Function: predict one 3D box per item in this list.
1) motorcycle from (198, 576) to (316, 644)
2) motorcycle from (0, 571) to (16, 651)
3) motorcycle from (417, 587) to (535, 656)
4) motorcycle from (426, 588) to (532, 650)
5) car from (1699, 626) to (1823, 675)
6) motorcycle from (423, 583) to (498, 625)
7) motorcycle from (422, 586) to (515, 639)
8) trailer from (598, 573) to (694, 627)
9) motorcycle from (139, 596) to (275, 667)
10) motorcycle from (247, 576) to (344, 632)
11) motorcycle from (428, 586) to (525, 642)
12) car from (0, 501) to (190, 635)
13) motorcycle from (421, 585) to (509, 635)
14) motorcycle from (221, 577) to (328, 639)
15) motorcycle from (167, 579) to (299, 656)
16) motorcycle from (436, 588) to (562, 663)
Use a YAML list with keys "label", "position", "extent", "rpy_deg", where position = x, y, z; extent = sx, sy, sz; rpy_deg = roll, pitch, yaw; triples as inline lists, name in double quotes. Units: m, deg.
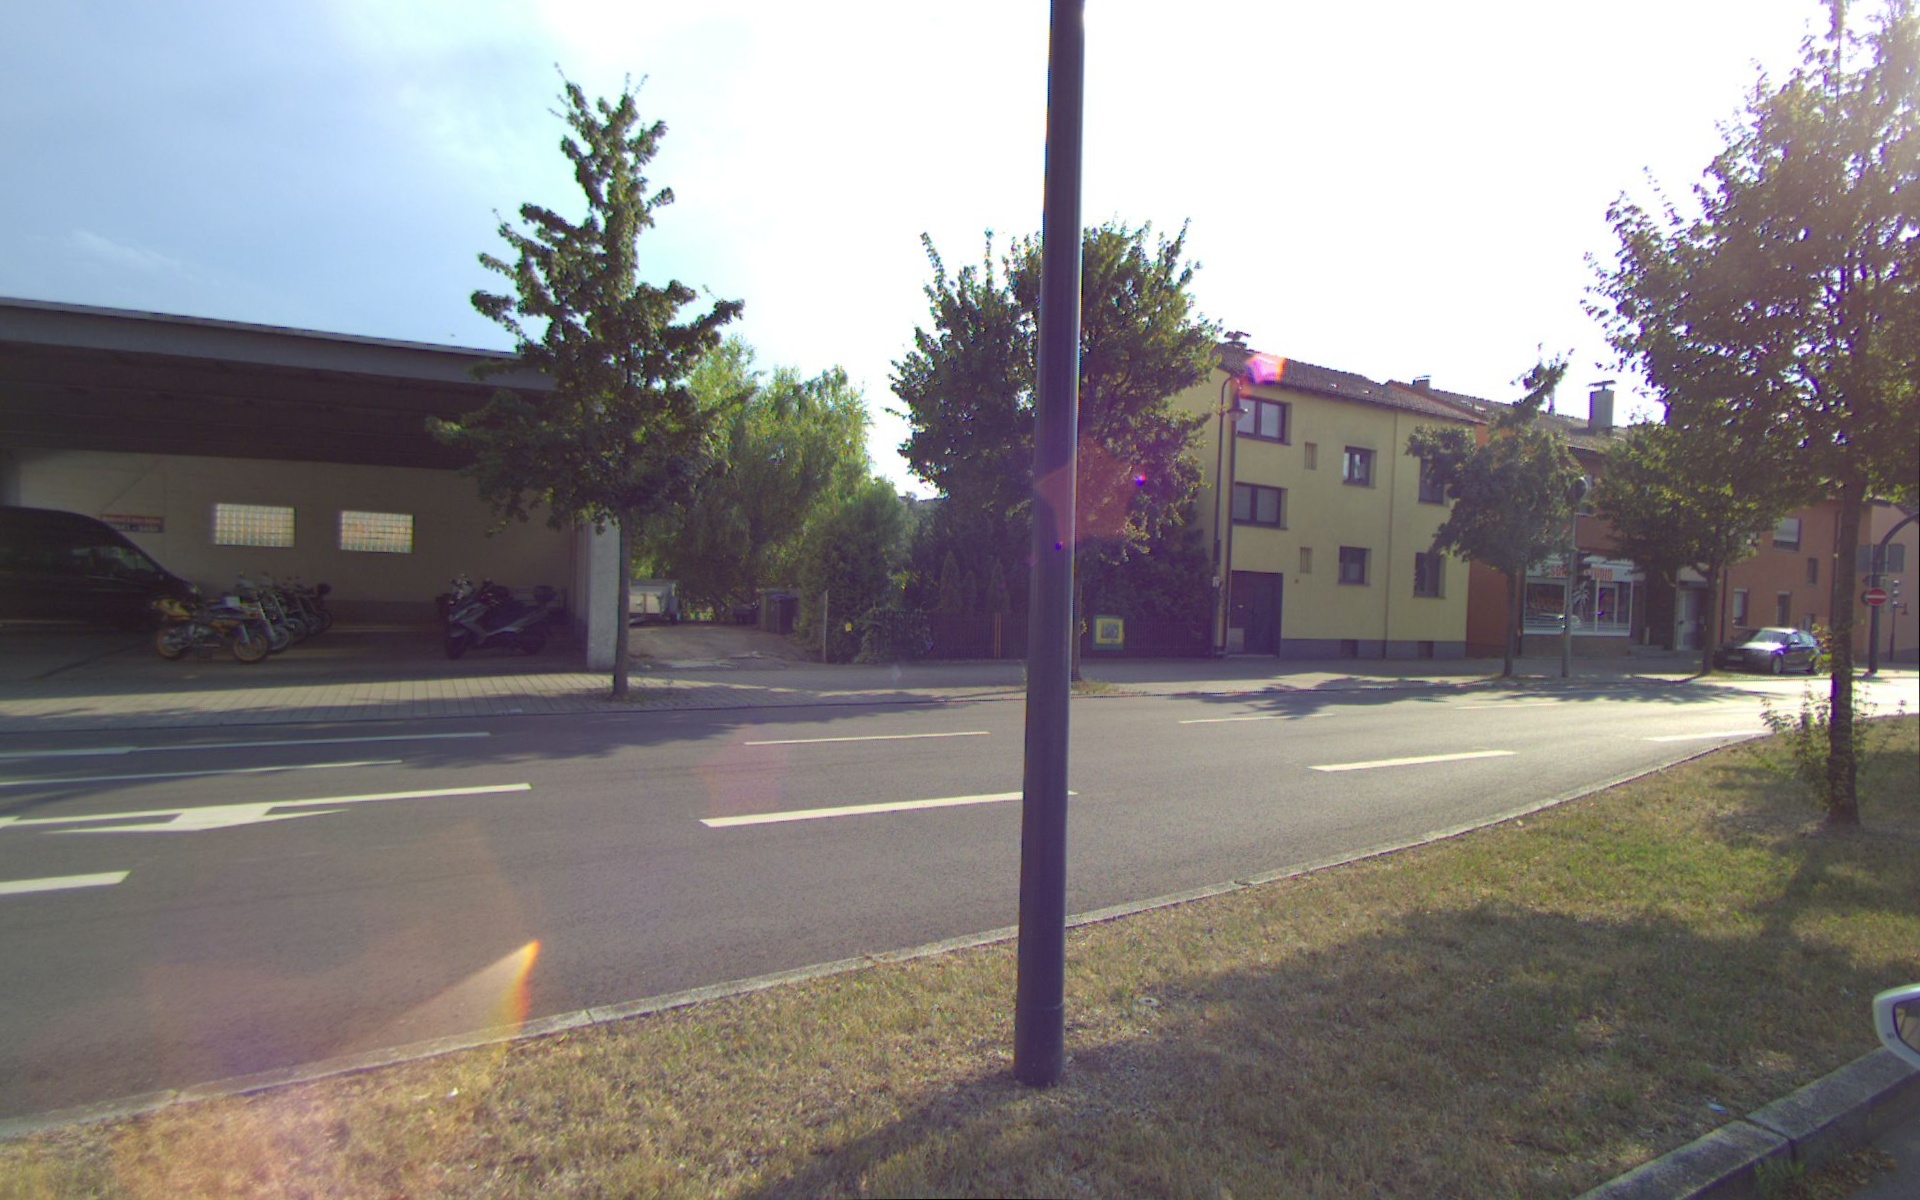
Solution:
- label: "motorcycle"
  position: [-14.757, 0.208, 21.091]
  extent: [2.219, 1.354, 0.631]
  rpy_deg: [1, 0, 10]
- label: "motorcycle"
  position: [-17.290, 0.172, 16.710]
  extent: [0.619, 1.380, 2.225]
  rpy_deg: [1, 0, 24]
- label: "motorcycle"
  position: [-9.816, 0.405, 20.446]
  extent: [0.621, 1.314, 2.113]
  rpy_deg: [1, 2, 36]
- label: "motorcycle"
  position: [-10.746, 0.387, 22.523]
  extent: [0.621, 1.314, 2.113]
  rpy_deg: [1, 2, 36]
- label: "car"
  position: [25.964, 1.600, 32.544]
  extent: [3.953, 1.319, 1.728]
  rpy_deg: [1, 4, -30]
- label: "motorcycle"
  position: [-15.964, 0.105, 32.163]
  extent: [0.621, 1.314, 2.113]
  rpy_deg: [1, 2, 36]
- label: "motorcycle"
  position: [-12.653, 0.295, 25.907]
  extent: [0.621, 1.314, 2.113]
  rpy_deg: [1, 2, 36]
- label: "trailer"
  position: [-8.221, -0.003, 26.604]
  extent: [1.698, 1.280, 3.995]
  rpy_deg: [1, 0, -7]
- label: "motorcycle"
  position: [-12.500, 0.506, 16.683]
  extent: [1.993, 1.101, 0.631]
  rpy_deg: [1, 0, 12]
- label: "motorcycle"
  position: [-16.913, 0.106, 25.559]
  extent: [2.219, 1.354, 0.631]
  rpy_deg: [1, 0, 10]
- label: "motorcycle"
  position: [-11.771, 0.315, 24.524]
  extent: [0.621, 1.314, 2.113]
  rpy_deg: [1, 2, 36]
- label: "car"
  position: [-20.456, -0.678, 22.077]
  extent: [1.962, 2.789, 5.280]
  rpy_deg: [1, 0, 26]
- label: "motorcycle"
  position: [-13.517, 0.243, 27.505]
  extent: [0.621, 1.314, 2.113]
  rpy_deg: [1, 2, 36]
- label: "motorcycle"
  position: [-15.888, 0.185, 23.300]
  extent: [2.219, 1.354, 0.631]
  rpy_deg: [1, 0, 10]
- label: "motorcycle"
  position: [-13.636, 0.322, 18.848]
  extent: [2.219, 1.354, 0.631]
  rpy_deg: [1, 0, 10]
- label: "motorcycle"
  position: [-8.623, 0.433, 18.884]
  extent: [0.621, 1.314, 2.113]
  rpy_deg: [1, 2, 36]
